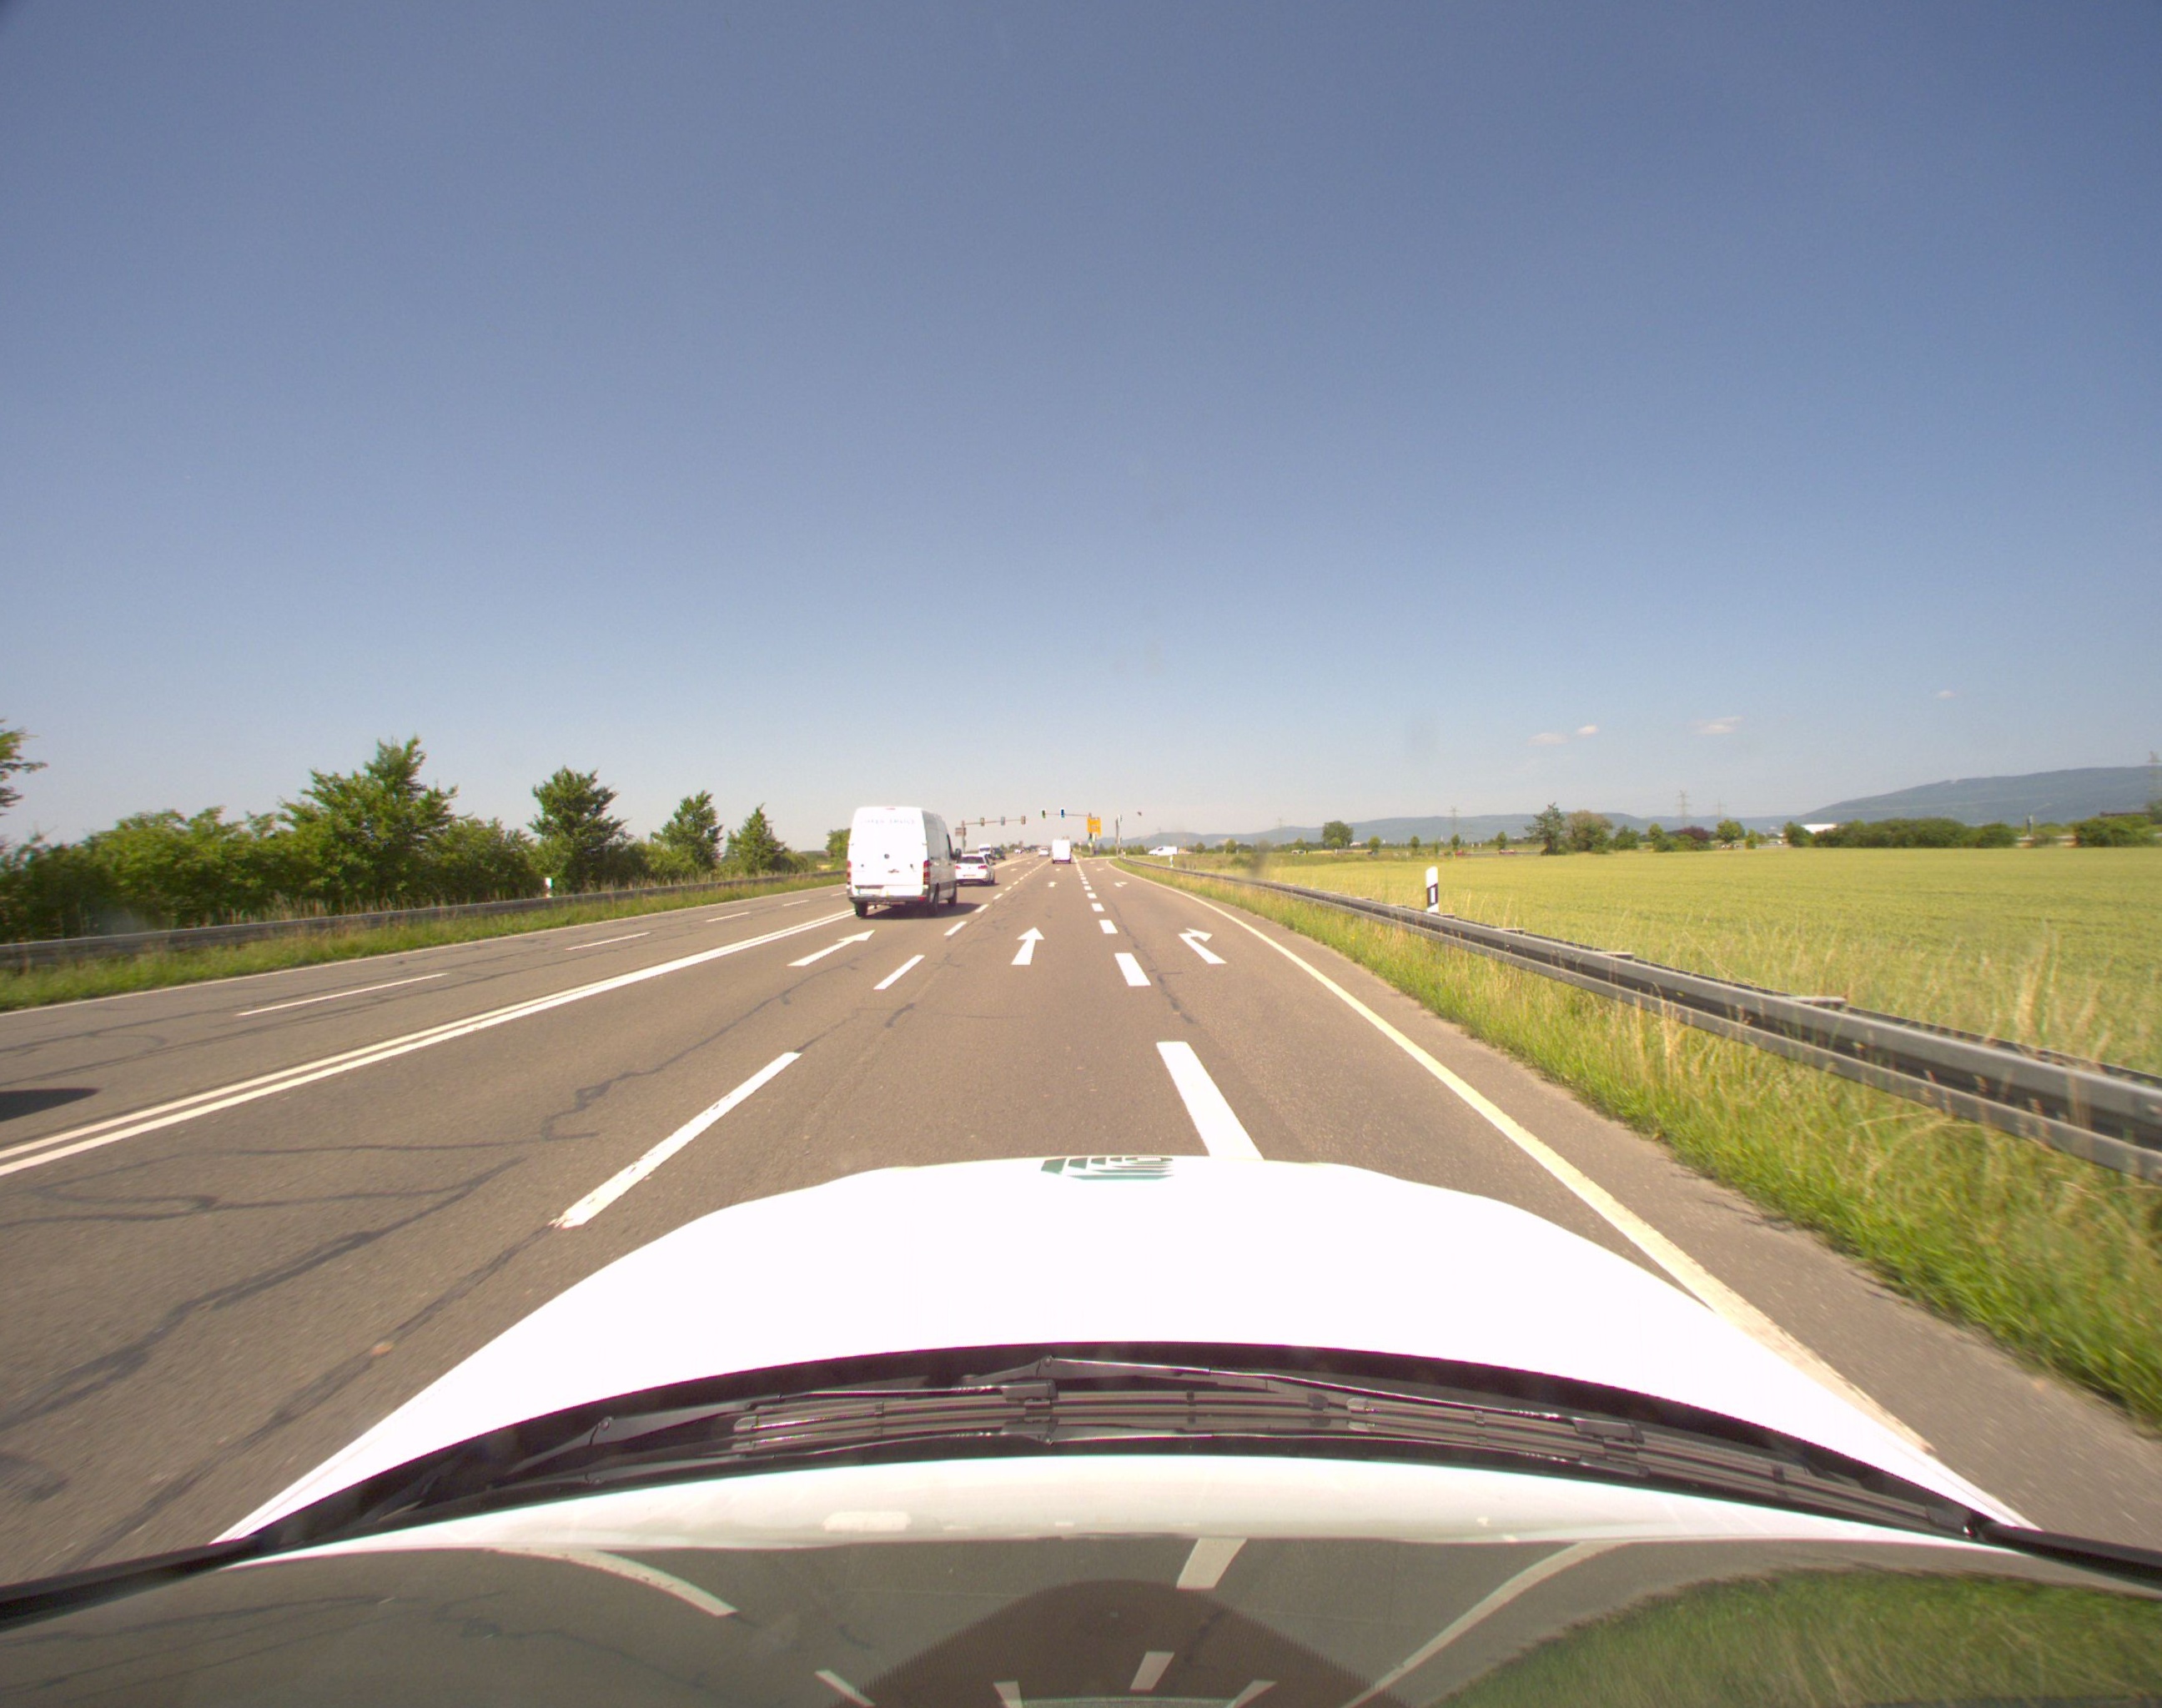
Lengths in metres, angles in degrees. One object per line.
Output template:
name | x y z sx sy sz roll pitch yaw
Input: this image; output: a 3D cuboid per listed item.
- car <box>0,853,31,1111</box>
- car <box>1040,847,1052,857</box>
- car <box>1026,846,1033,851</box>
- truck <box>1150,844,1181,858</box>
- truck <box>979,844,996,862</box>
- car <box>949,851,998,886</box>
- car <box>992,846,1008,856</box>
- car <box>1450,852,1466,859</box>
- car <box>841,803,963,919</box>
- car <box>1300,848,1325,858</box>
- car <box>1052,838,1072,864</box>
car | -7.543 0.846 2.673 1.835 1.587 4.872 -4 0 -1
car | -6.233 -0.257 144.667 1.988 1.703 4.273 0 -1 -1
car | -14.698 -1.562 234.625 1.628 1.486 4.002 0 -1 2
truck | 14.396 -0.459 138.032 4.853 2.320 1.989 0 -1 -16
truck | -15.709 -0.201 137.403 2.289 2.957 5.282 0 -1 0
car | -4.979 0.619 38.244 1.794 1.508 4.194 -1 0 -1
car | -11.910 -0.417 119.760 1.851 1.423 3.999 0 -1 0
car | 84.716 0.422 183.007 3.496 1.486 1.633 1 -1 -32
car | -4.508 0.145 21.541 2.033 2.620 5.738 -1 0 -1
car | 41.560 -0.204 146.437 4.006 1.684 1.984 1 -1 -25
car | -2.011 -0.294 86.912 1.988 2.695 4.967 -1 0 -1
